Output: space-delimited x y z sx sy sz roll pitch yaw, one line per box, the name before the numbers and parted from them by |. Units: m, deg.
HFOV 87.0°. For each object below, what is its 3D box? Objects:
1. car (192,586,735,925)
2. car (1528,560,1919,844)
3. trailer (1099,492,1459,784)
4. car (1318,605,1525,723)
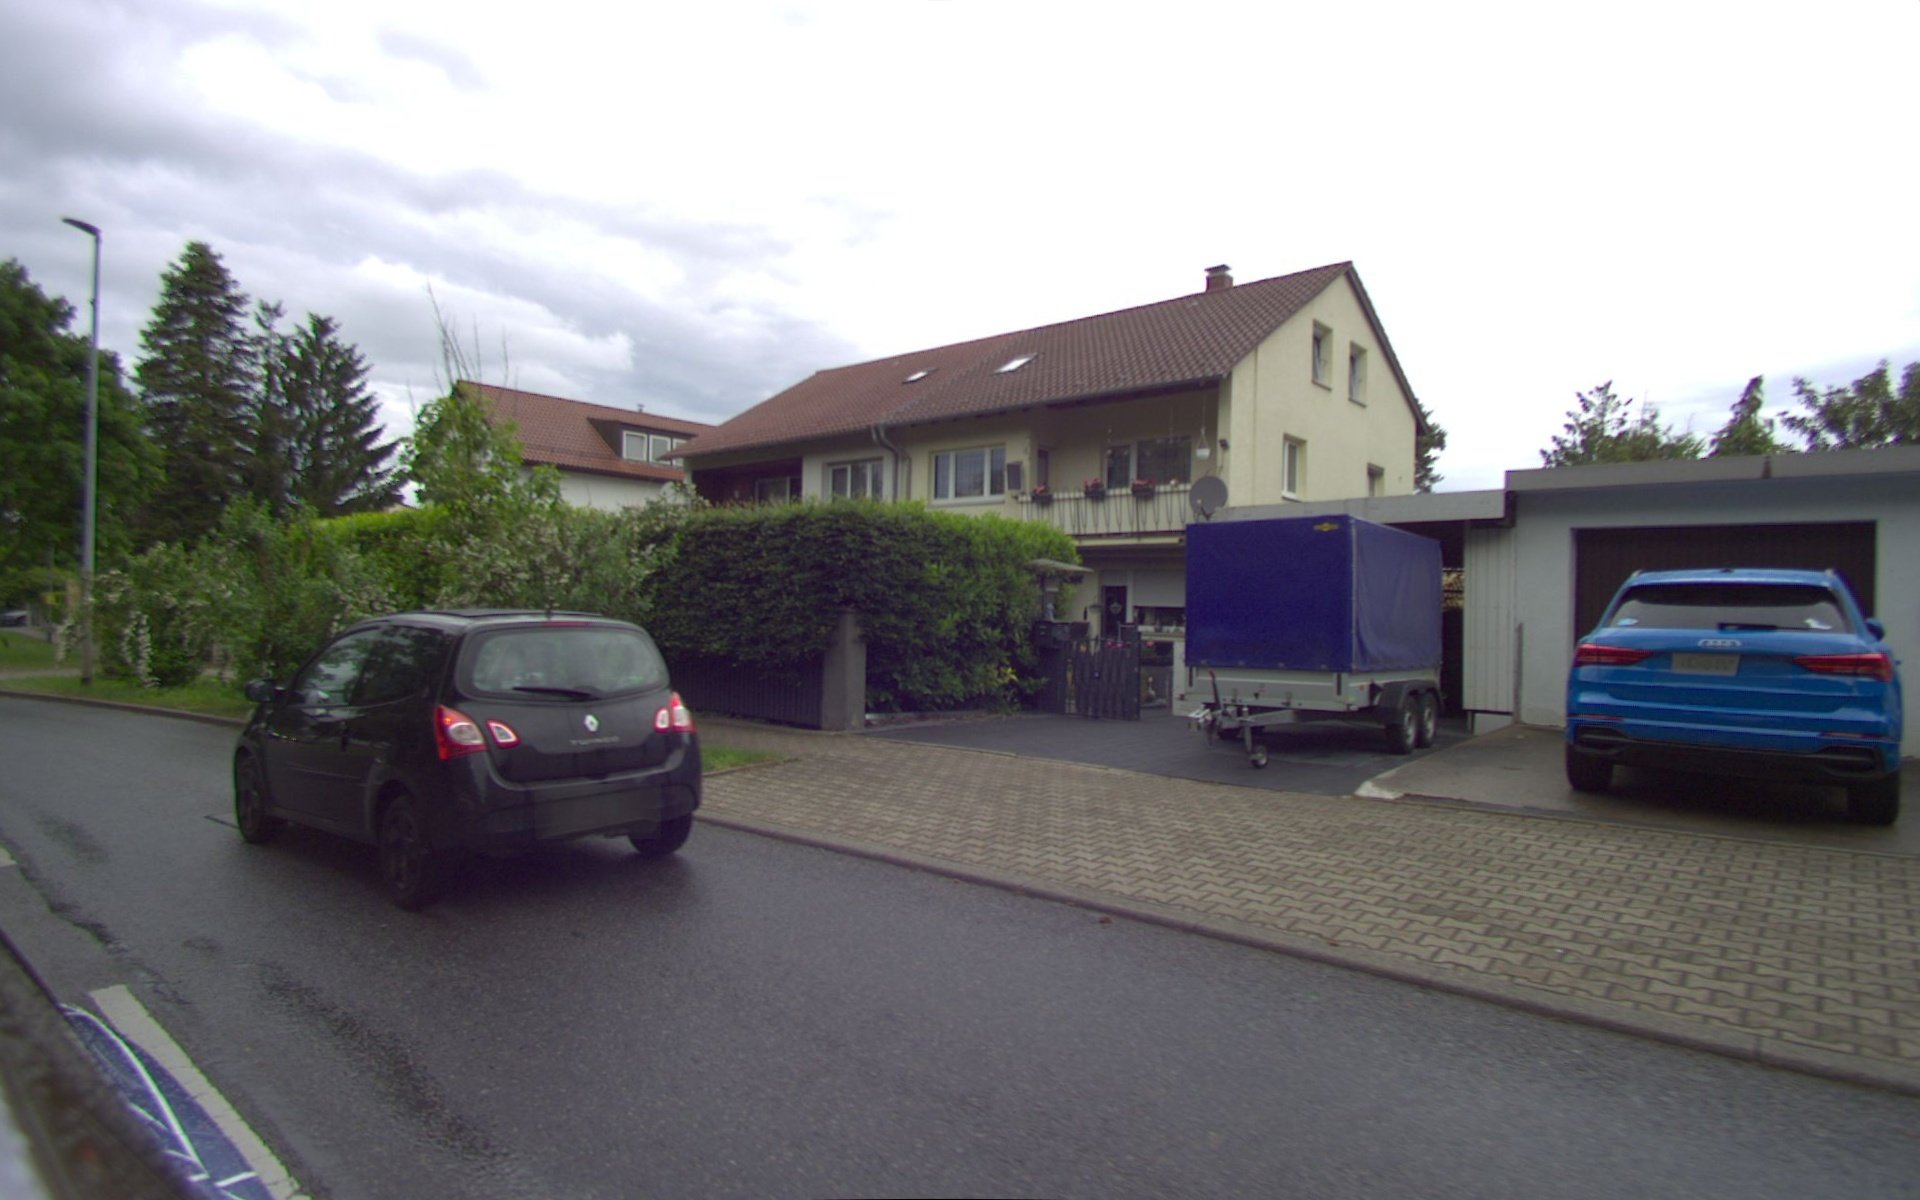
car | -3.256 0.739 6.311 3.892 1.489 1.567 -2 -2 39
car | 5.895 0.558 7.713 2.050 1.551 4.196 -1 0 39
trailer | 3.345 0.284 9.937 1.813 2.188 4.575 -1 0 39
car | 6.764 0.810 14.627 1.831 1.439 3.811 -1 0 39
